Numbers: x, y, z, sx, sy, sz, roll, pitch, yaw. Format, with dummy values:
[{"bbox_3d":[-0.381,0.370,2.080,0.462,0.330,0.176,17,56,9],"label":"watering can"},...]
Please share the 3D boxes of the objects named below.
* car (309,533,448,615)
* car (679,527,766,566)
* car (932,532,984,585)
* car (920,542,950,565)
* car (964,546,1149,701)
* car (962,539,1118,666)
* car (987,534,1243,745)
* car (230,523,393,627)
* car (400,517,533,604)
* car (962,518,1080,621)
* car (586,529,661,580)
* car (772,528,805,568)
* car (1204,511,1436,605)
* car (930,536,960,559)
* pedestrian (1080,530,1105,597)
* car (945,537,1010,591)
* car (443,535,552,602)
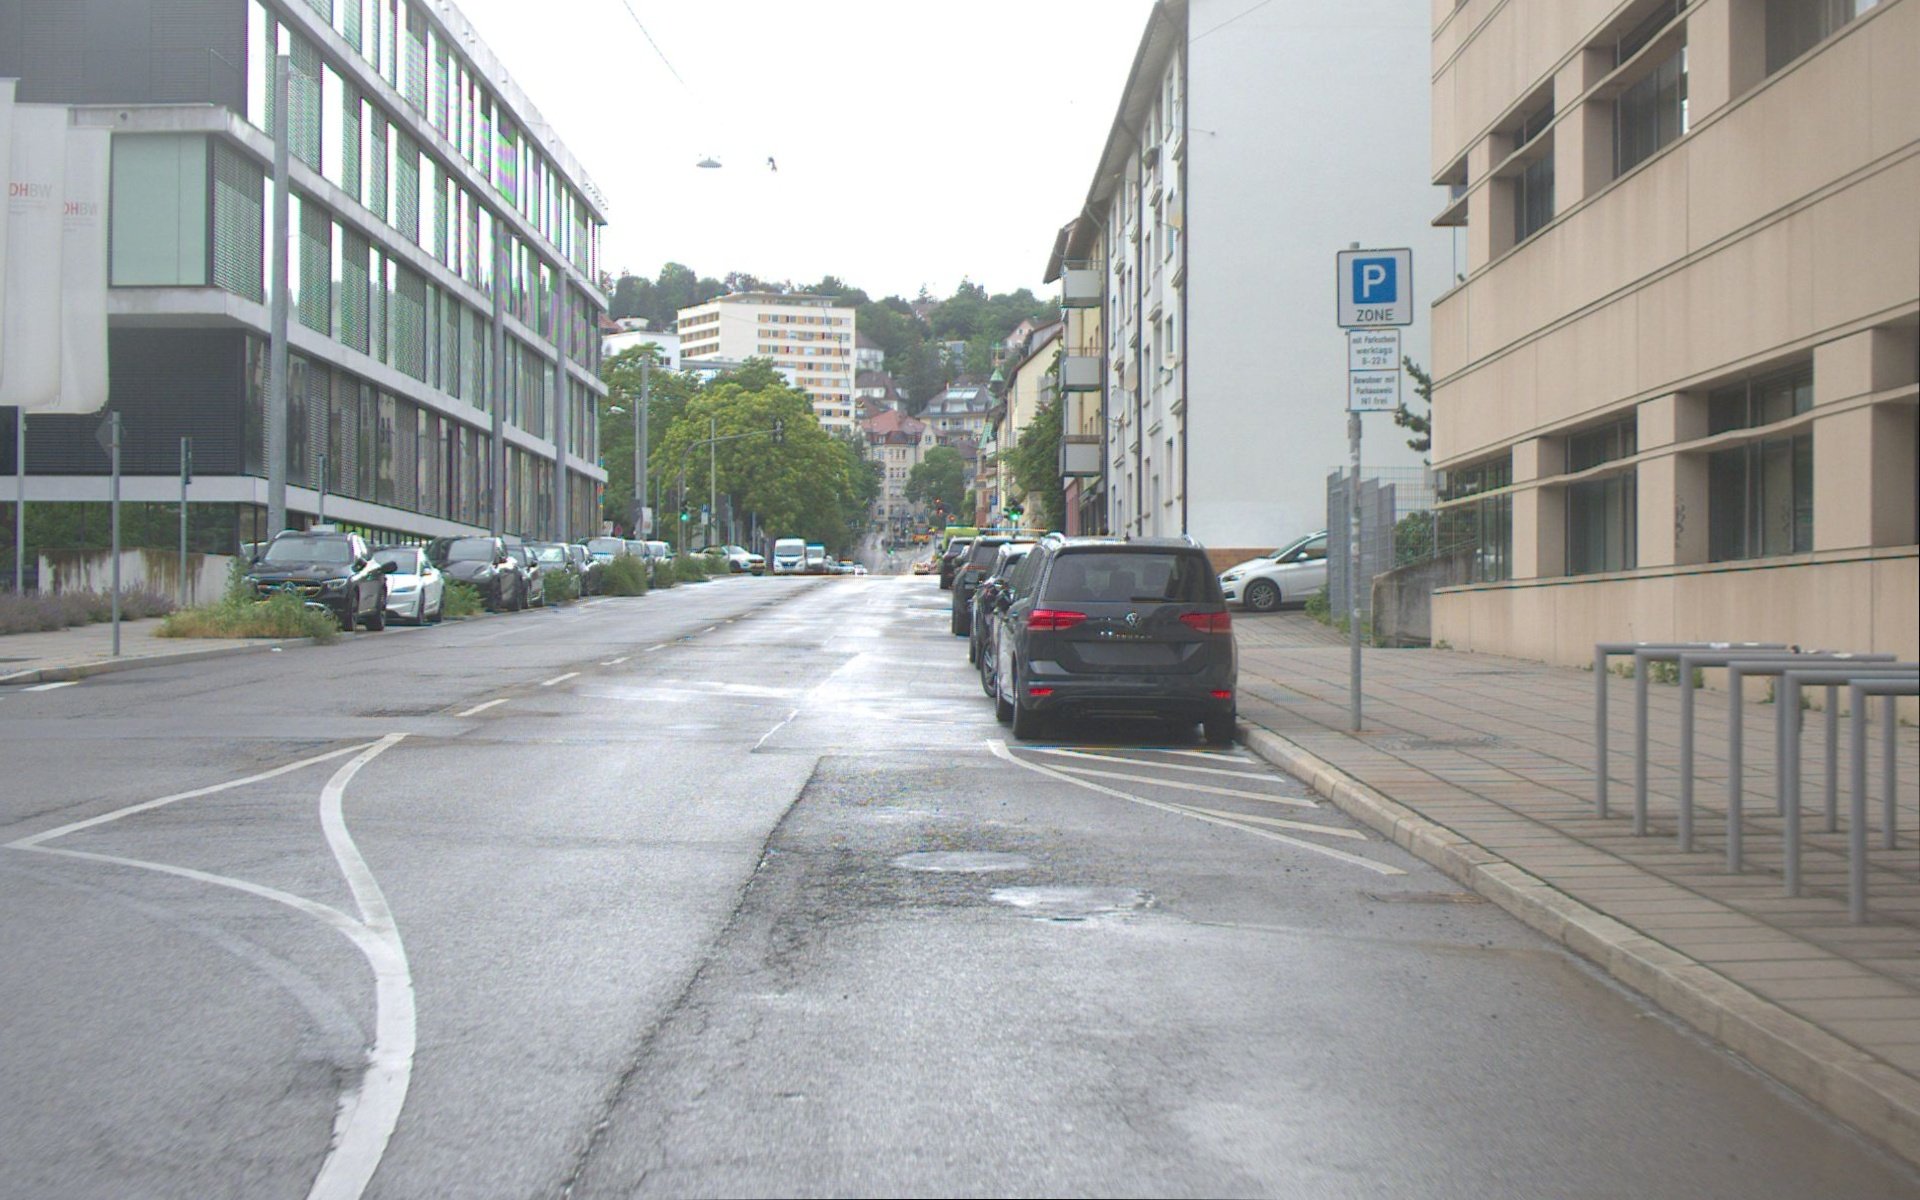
[{"bbox_3d":[-10.677,-0.495,63.427,1.821,1.414,4.402,1,1,0],"label":"car"},{"bbox_3d":[-11.530,-2.599,166.965,4.201,1.663,1.637,-2,-4,39],"label":"car"},{"bbox_3d":[-0.082,-1.424,116.426,1.655,1.732,4.180,1,2,-1],"label":"car"},{"bbox_3d":[-1.791,-3.298,246.306,1.867,1.598,4.189,1,1,2],"label":"car"},{"bbox_3d":[0.979,0.221,36.836,1.725,1.507,4.058,2,0,-1],"label":"car"},{"bbox_3d":[0.991,0.000,44.631,1.743,1.528,4.320,1,1,-2],"label":"car"},{"bbox_3d":[1.216,0.274,28.758,1.771,1.598,4.395,1,1,-2],"label":"car"},{"bbox_3d":[-10.644,-0.428,56.724,1.849,1.612,4.491,1,1,0],"label":"car"},{"bbox_3d":[-10.519,-0.854,73.569,1.963,1.744,4.942,1,1,2],"label":"car"},{"bbox_3d":[1.054,-0.560,61.502,1.935,1.744,4.797,1,1,-1],"label":"car"},{"bbox_3d":[-10.830,-1.451,110.893,1.802,1.598,4.234,1,0,2],"label":"car"},{"bbox_3d":[-11.166,-3.382,223.689,2.105,2.538,4.751,1,1,-3],"label":"car"},{"bbox_3d":[7.320,-0.861,70.137,4.438,1.707,1.905,-3,1,-1],"label":"car"},{"bbox_3d":[-1.047,-3.629,238.132,1.867,1.598,4.189,1,1,2],"label":"car"},{"bbox_3d":[3.718,-1.021,96.389,0.639,1.864,0.538,1,0,2],"label":"pedestrian"},{"bbox_3d":[0.474,-1.010,95.893,1.706,1.449,3.985,1,1,-1],"label":"car"},{"bbox_3d":[-10.662,-0.748,79.522,1.871,1.467,4.741,1,1,0],"label":"car"}]
